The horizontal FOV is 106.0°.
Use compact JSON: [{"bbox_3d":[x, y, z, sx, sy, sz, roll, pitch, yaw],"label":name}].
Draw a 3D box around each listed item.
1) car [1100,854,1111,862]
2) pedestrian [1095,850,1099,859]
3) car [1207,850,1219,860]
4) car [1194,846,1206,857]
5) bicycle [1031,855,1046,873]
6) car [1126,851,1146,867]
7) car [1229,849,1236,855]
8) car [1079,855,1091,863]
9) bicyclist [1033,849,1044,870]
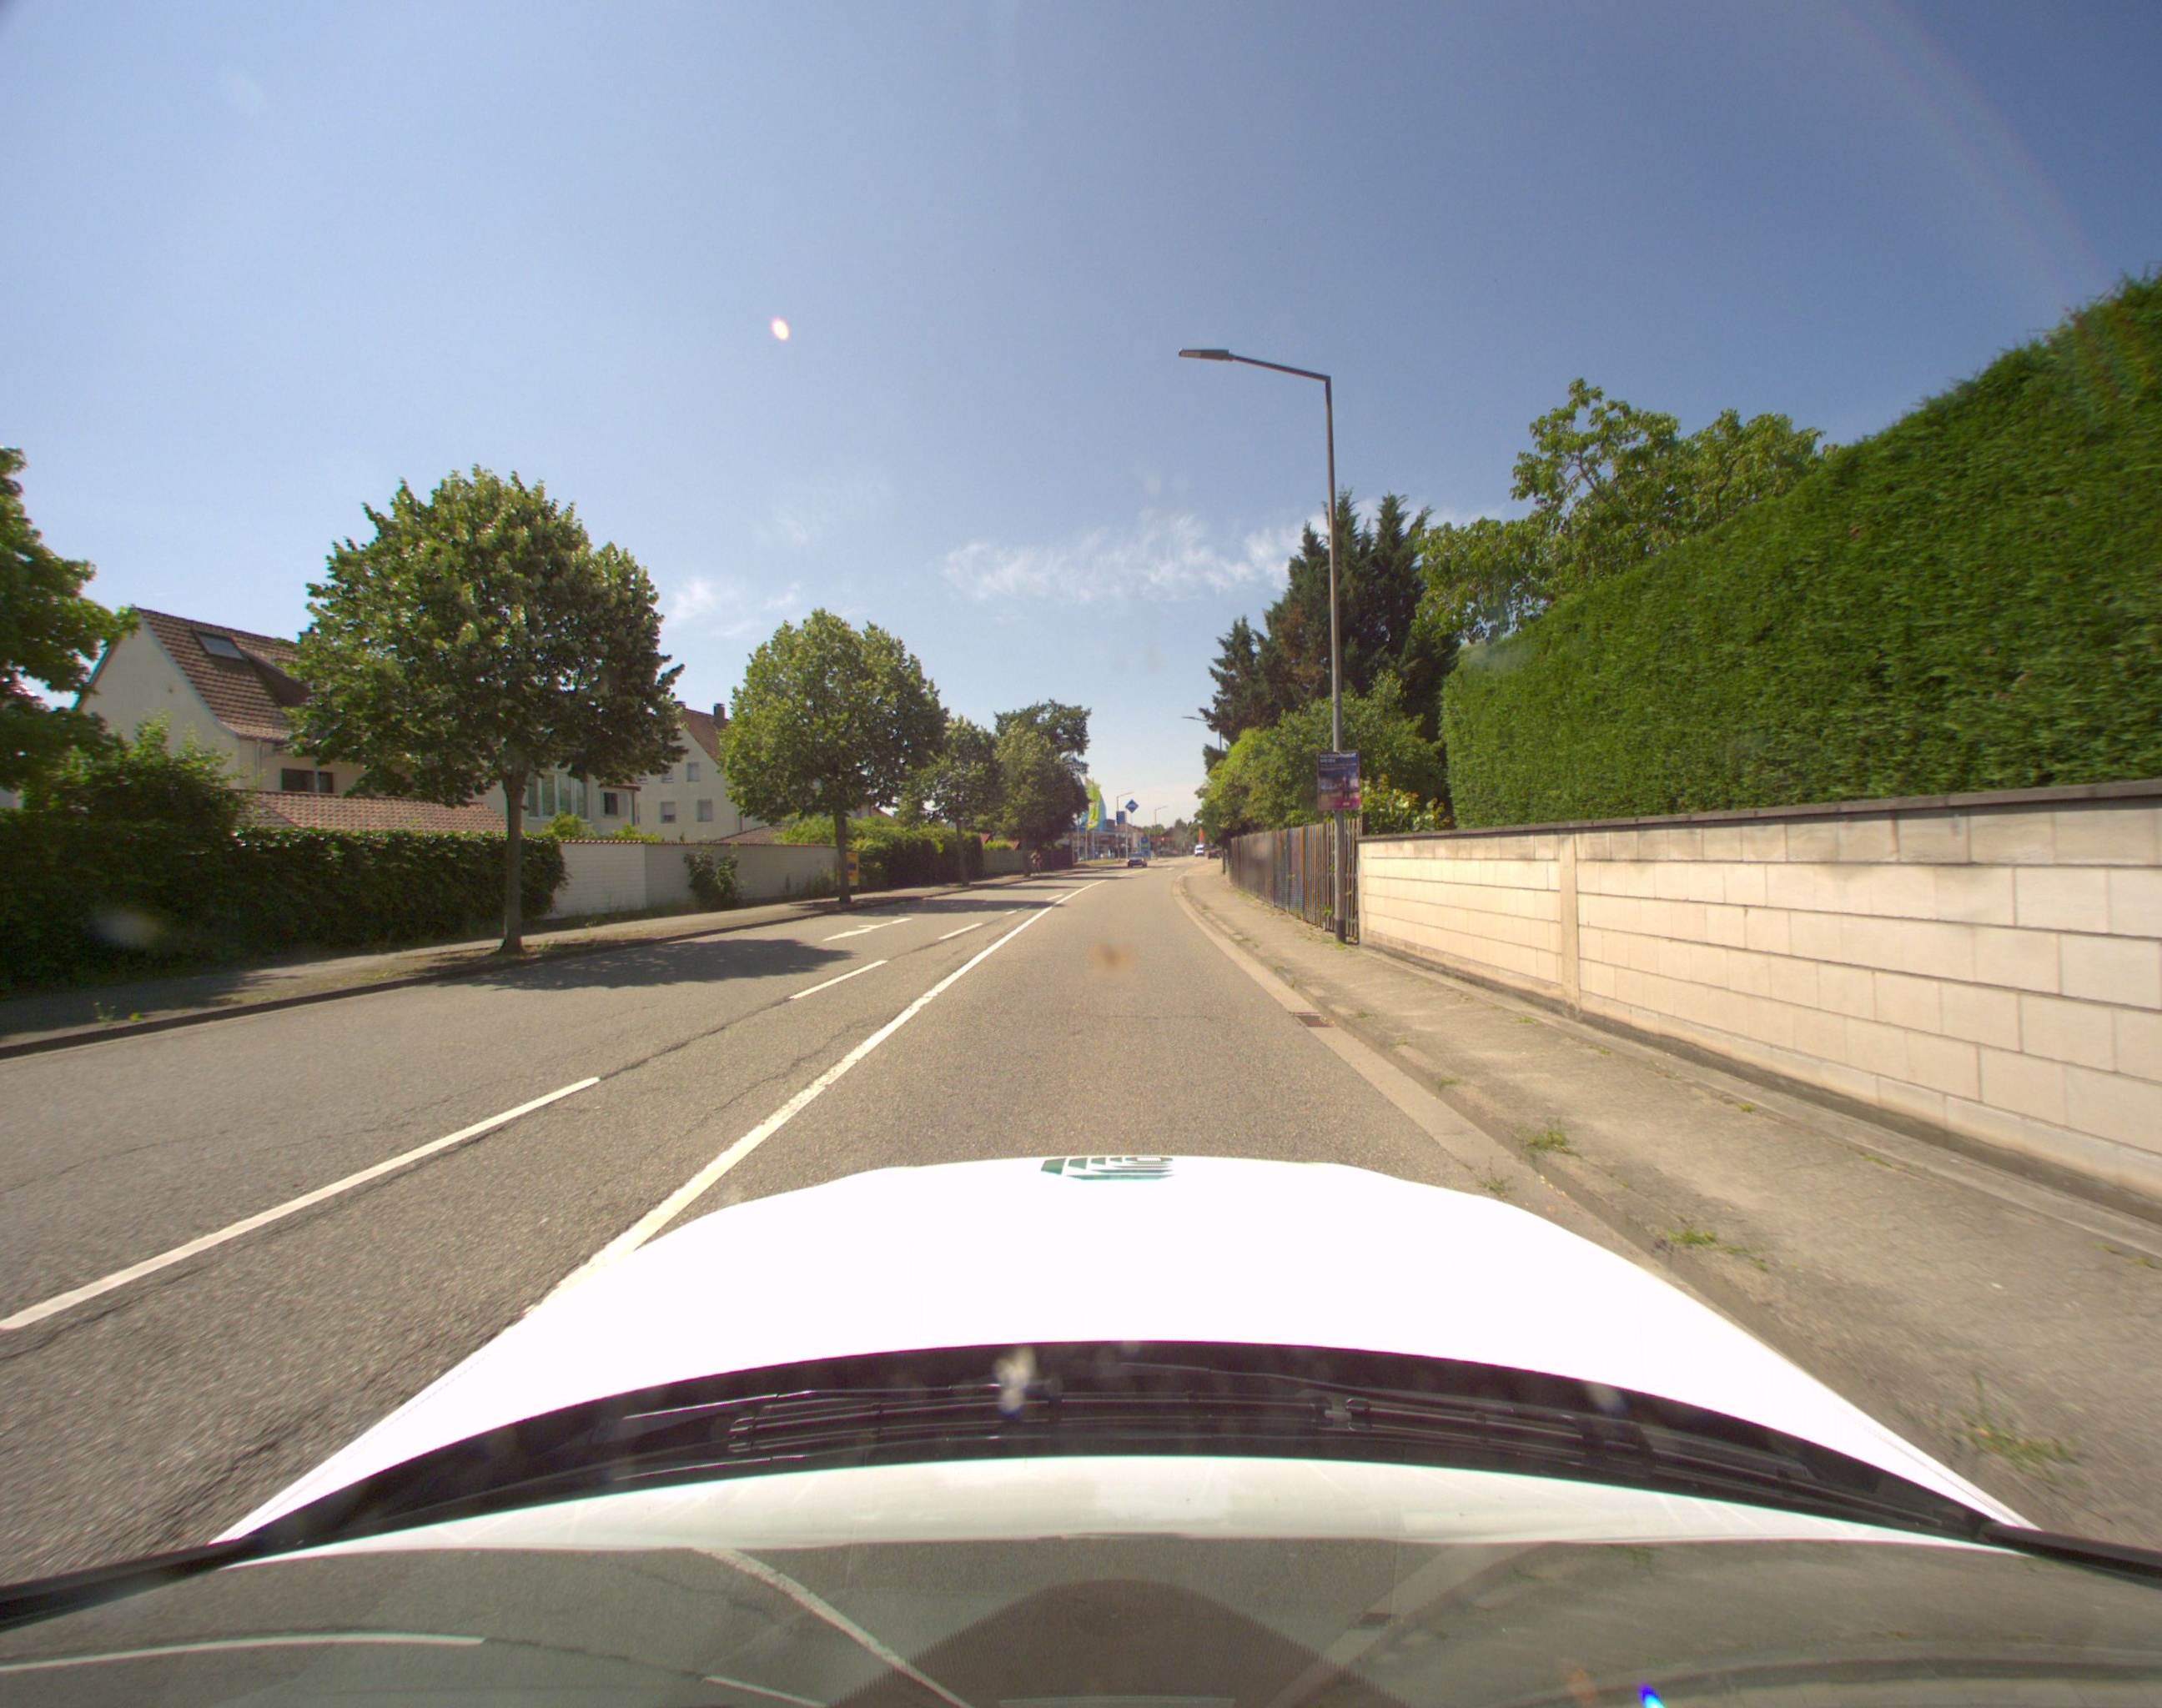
[{"bbox_3d":[4.633,0.716,153.264,1.608,1.420,3.720,-3,0,8],"label":"car"},{"bbox_3d":[3.051,0.003,154.907,0.611,1.691,0.705,-2,0,-14],"label":"pedestrian"},{"bbox_3d":[20.947,0.196,129.156,1.654,1.455,3.484,-2,0,12],"label":"car"},{"bbox_3d":[27.082,-0.611,185.273,1.979,2.423,5.970,0,-1,14],"label":"car"},{"bbox_3d":[-2.898,0.665,55.664,0.628,1.180,1.820,-2,0,8],"label":"bicycle"},{"bbox_3d":[5.457,0.475,80.451,1.603,1.482,3.716,-2,0,8],"label":"car"},{"bbox_3d":[37.129,-0.521,199.448,1.654,1.455,3.484,-2,0,12],"label":"car"},{"bbox_3d":[0.740,0.916,153.543,1.608,1.420,3.720,-3,0,8],"label":"car"},{"bbox_3d":[-2.901,0.389,55.677,0.625,1.408,0.678,-2,0,8],"label":"bicyclist"}]
